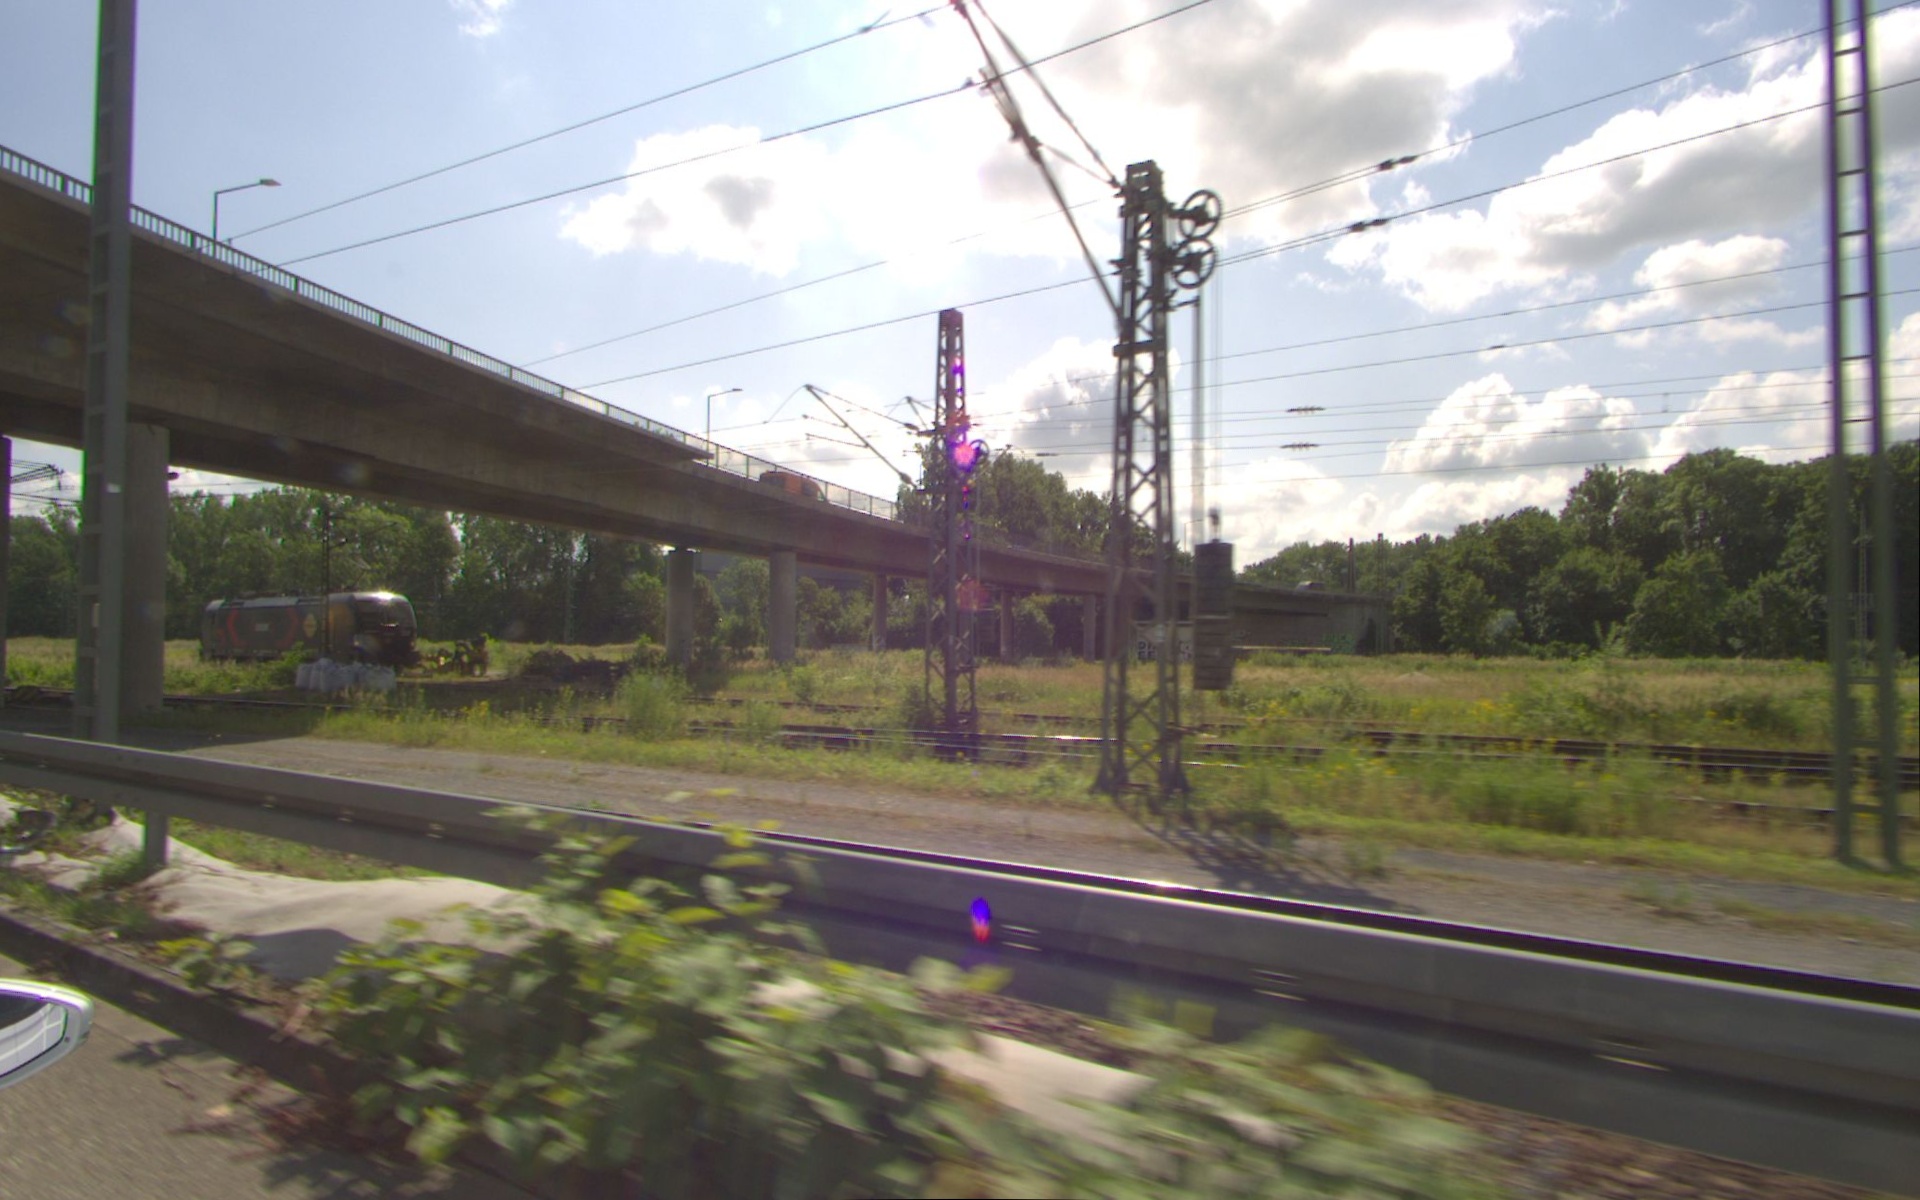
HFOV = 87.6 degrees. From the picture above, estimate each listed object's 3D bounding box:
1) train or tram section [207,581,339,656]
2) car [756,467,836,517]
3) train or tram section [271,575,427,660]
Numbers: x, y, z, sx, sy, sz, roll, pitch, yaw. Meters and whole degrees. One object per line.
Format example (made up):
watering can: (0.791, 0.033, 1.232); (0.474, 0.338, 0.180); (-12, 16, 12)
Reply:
train or tram section: (-34.529, 1.013, 50.211); (8.129, 3.521, 2.749); (-1, -3, 35)
car: (-9.062, -5.973, 55.865); (1.966, 2.039, 5.325); (-2, -1, 21)
train or tram section: (-27.785, 0.872, 45.409); (8.451, 3.553, 2.883); (-1, -3, 35)
